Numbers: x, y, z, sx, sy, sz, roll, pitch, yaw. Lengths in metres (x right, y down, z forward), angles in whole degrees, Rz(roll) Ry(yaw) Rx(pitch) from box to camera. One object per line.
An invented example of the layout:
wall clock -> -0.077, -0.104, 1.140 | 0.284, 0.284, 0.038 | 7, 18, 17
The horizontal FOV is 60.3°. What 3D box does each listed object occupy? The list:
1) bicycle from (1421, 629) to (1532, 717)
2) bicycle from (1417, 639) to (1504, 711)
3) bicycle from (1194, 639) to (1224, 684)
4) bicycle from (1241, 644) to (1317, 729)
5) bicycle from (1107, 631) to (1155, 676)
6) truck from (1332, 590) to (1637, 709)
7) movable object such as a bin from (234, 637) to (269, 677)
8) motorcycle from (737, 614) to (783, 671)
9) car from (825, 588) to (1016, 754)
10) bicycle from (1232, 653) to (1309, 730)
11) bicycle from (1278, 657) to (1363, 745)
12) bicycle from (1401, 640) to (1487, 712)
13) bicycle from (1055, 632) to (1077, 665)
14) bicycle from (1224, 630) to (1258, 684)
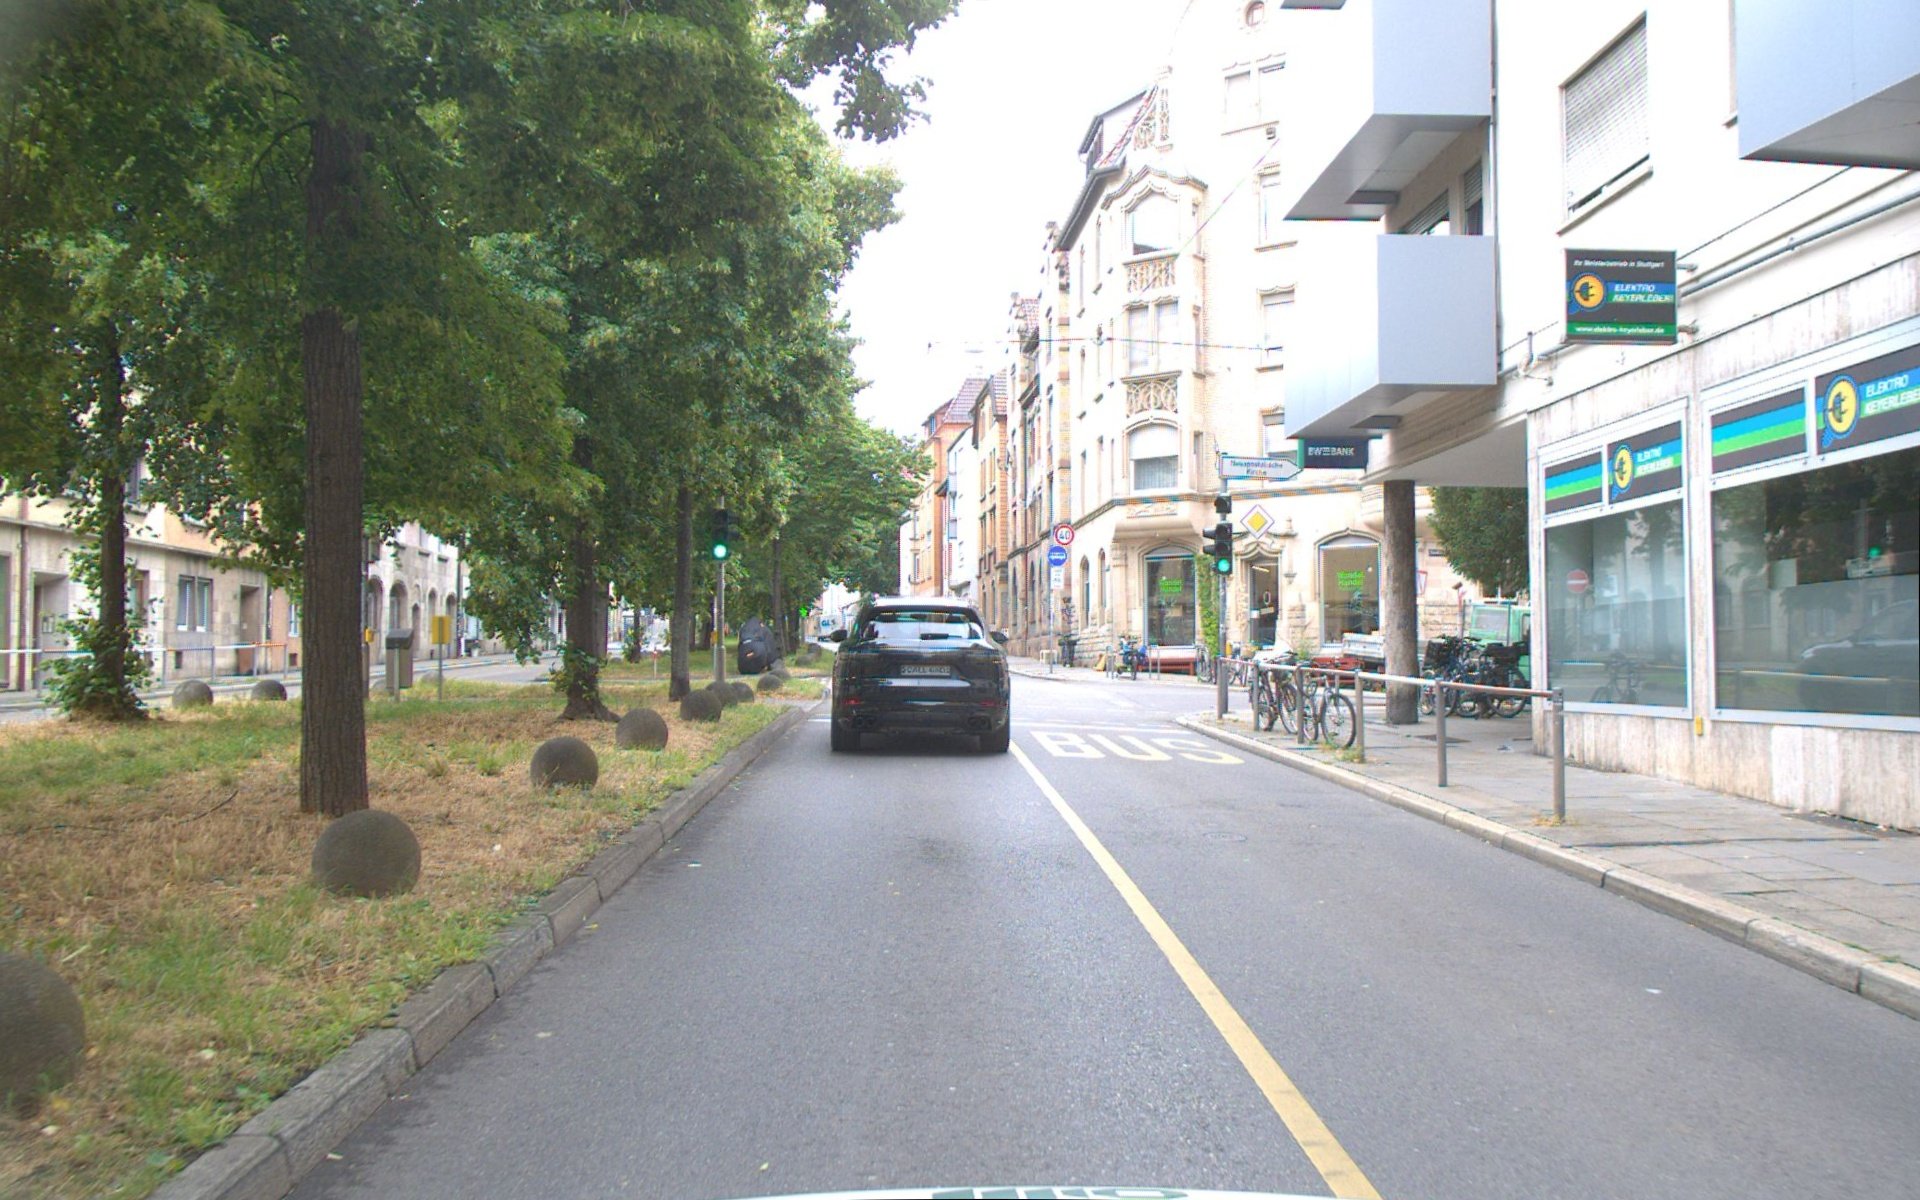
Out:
bicycle -> 7.422, 1.036, 23.834 | 0.315, 1.220, 1.740 | 1, -2, -33
bicycle -> 7.636, 1.126, 25.297 | 0.313, 1.061, 1.751 | 1, -2, -19
bicycle -> 6.351, 1.570, 42.294 | 0.342, 1.077, 1.833 | 3, 0, -3
bicycle -> 4.209, 1.122, 21.929 | 0.281, 1.073, 1.754 | 1, -1, -14
bicycle -> 4.533, 1.411, 43.949 | 0.861, 1.149, 2.978 | 0, -1, -2
truck -> 10.682, 1.012, 33.841 | 5.461, 2.170, 2.375 | 2, -1, -12
movable object such as a bin -> -19.506, 1.568, 45.547 | 0.678, 1.078, 0.689 | 1, -2, -7
motorcycle -> -5.369, 1.140, 44.567 | 0.999, 1.472, 2.246 | -2, -1, -2
car -> -0.481, 0.752, 18.982 | 1.953, 1.695, 3.998 | 0, -1, -2
bicycle -> 4.039, 1.176, 21.605 | 0.281, 0.948, 1.754 | 1, -1, -14
bicycle -> 4.180, 1.152, 19.272 | 0.557, 0.948, 1.774 | 0, -1, -2
bicycle -> 7.348, 1.137, 25.186 | 0.313, 1.061, 1.751 | 1, -2, -19
bicycle -> 3.526, 1.623, 55.066 | 0.437, 1.055, 2.246 | -1, -2, -3
bicycle -> 7.130, 1.431, 42.026 | 0.437, 1.181, 1.834 | -1, 4, -3
